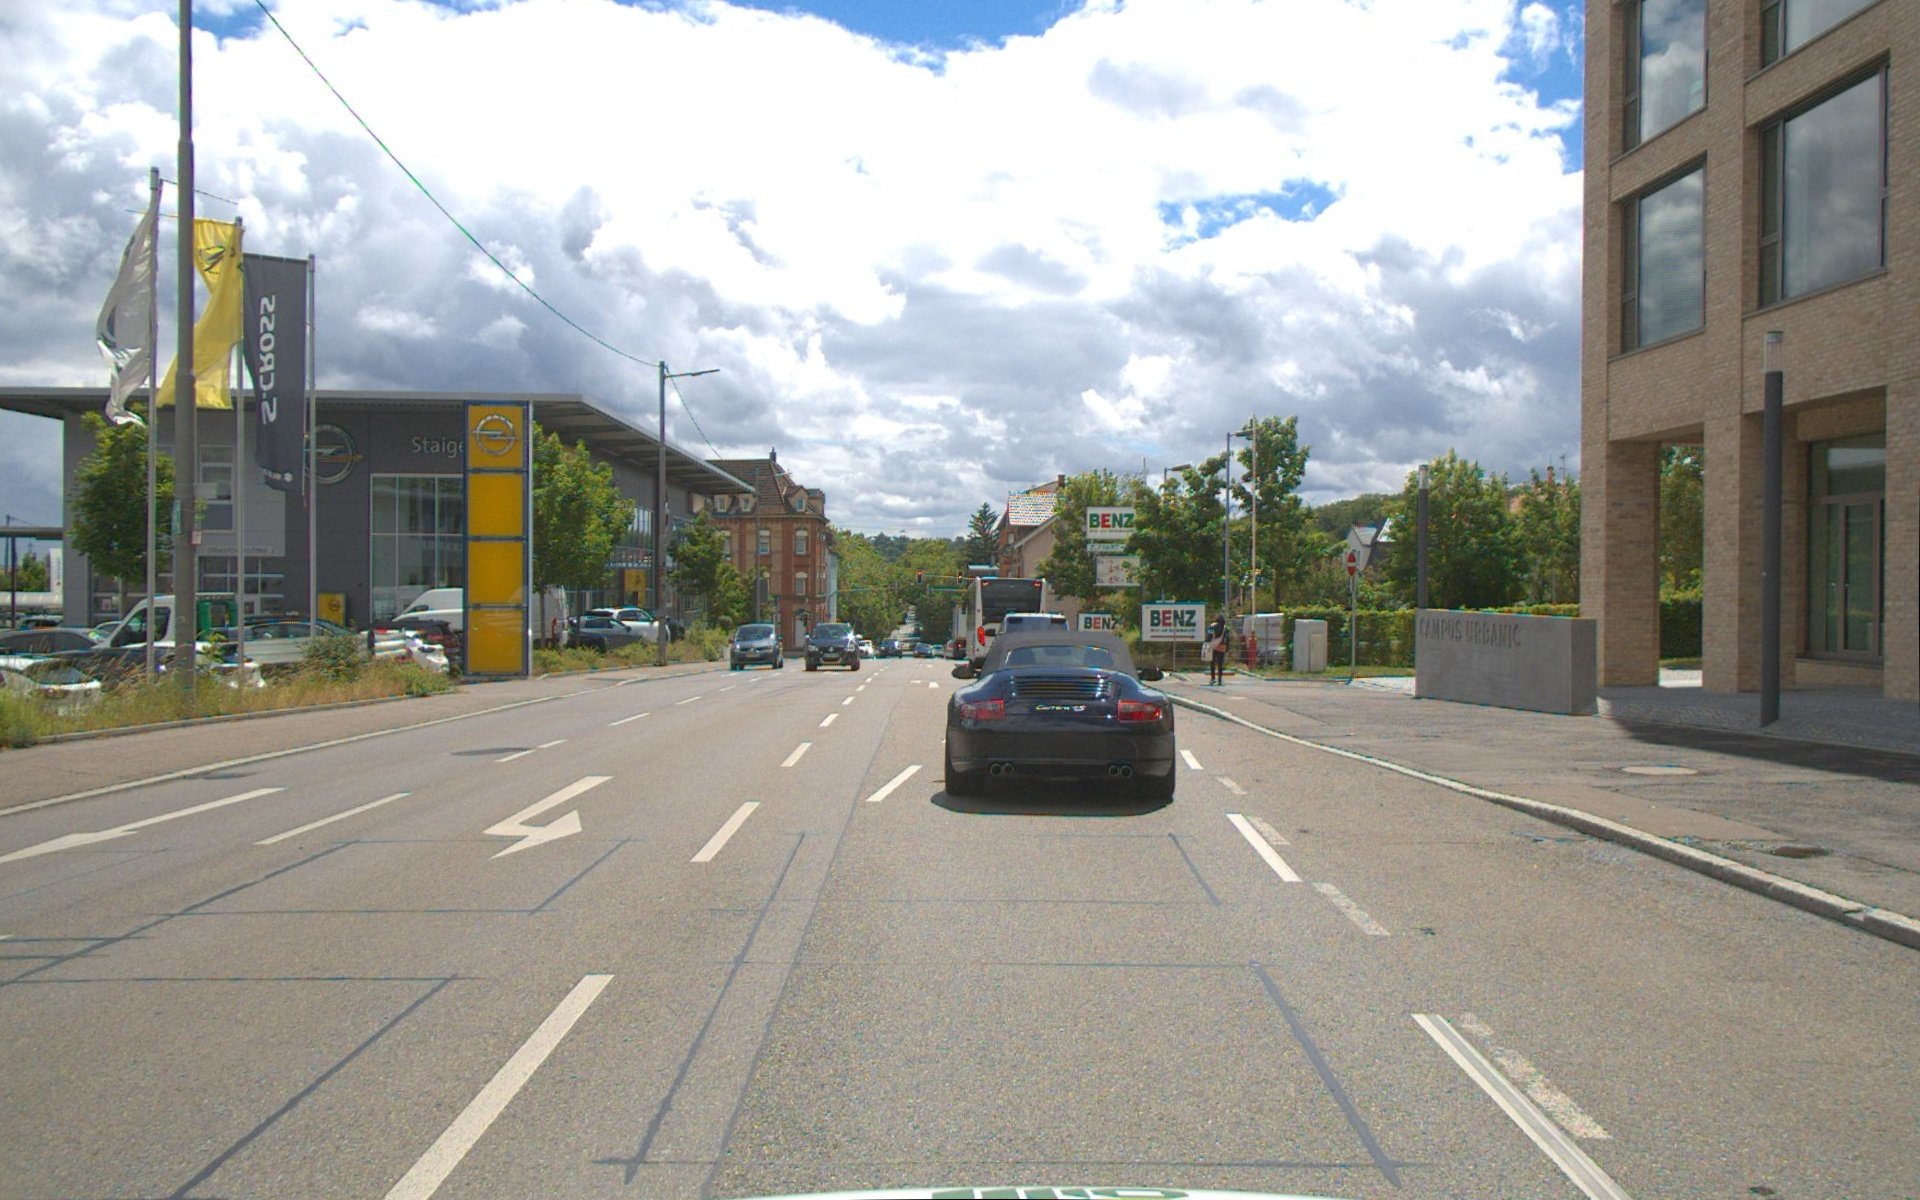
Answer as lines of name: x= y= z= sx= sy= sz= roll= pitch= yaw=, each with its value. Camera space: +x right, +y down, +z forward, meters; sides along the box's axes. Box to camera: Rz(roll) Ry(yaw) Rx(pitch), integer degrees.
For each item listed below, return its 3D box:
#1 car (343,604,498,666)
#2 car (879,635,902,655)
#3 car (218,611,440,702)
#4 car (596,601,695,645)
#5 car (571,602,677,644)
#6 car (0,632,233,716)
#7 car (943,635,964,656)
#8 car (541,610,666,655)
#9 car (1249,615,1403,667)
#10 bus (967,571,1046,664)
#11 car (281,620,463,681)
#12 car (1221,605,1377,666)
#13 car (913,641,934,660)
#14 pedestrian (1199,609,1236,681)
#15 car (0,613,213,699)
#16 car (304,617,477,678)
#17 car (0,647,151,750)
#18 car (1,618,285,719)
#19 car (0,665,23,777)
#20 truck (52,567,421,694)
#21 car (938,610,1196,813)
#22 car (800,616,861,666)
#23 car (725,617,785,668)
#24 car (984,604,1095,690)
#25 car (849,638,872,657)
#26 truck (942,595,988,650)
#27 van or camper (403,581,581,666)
car: x=-15.975 y=1.031 z=49.123 sx=3.903 sy=1.735 sz=2.001 roll=0 pitch=1 yaw=4
car: x=-5.628 y=3.675 z=134.655 sx=1.826 sy=1.567 sz=4.105 roll=0 pitch=-1 yaw=-2
car: x=-13.181 y=1.164 z=34.703 sx=3.906 sy=1.616 sz=1.754 roll=-3 pitch=1 yaw=0
car: x=-13.372 y=0.936 z=70.564 sx=1.954 sy=1.728 sz=4.482 roll=1 pitch=1 yaw=24
car: x=-13.242 y=0.926 z=65.489 sx=1.891 sy=1.600 sz=4.552 roll=0 pitch=-1 yaw=22
car: x=-13.326 y=1.104 z=25.179 sx=3.641 sy=1.233 sz=1.928 roll=0 pitch=-1 yaw=-1
car: x=-0.648 y=4.446 z=161.118 sx=1.796 sy=1.915 sz=3.998 roll=0 pitch=0 yaw=-2
car: x=-12.949 y=1.161 z=60.389 sx=1.858 sy=1.476 sz=4.827 roll=1 pitch=1 yaw=26
car: x=11.467 y=1.293 z=52.044 sx=4.343 sy=1.507 sz=1.999 roll=-1 pitch=-1 yaw=-2
bus: x=1.688 y=0.515 z=63.896 sx=2.744 sy=3.253 sz=12.197 roll=0 pitch=1 yaw=1
car: x=-14.863 y=1.260 z=41.985 sx=3.907 sy=1.433 sz=1.999 roll=0 pitch=1 yaw=-3
car: x=11.204 y=1.177 z=54.868 sx=4.620 sy=1.881 sz=2.084 roll=-1 pitch=-1 yaw=-9
car: x=-3.266 y=4.494 z=147.247 sx=1.826 sy=1.695 sz=4.257 roll=0 pitch=-1 yaw=-2
pedestrian: x=5.707 y=0.984 z=36.672 sx=0.673 sy=1.563 sz=0.856 roll=0 pitch=0 yaw=-1
car: x=-17.934 y=1.145 z=34.302 sx=3.997 sy=1.548 sz=1.826 roll=-3 pitch=1 yaw=-2
car: x=-15.228 y=1.252 z=44.363 sx=3.904 sy=1.517 sz=2.001 roll=0 pitch=1 yaw=2
car: x=-13.380 y=1.330 z=22.909 sx=3.472 sy=1.348 sz=1.711 roll=0 pitch=-1 yaw=2
car: x=-13.758 y=1.143 z=28.024 sx=3.806 sy=1.638 sz=1.928 roll=0 pitch=-1 yaw=-1
car: x=-14.200 y=1.528 z=20.604 sx=3.949 sy=1.411 sz=1.929 roll=0 pitch=-1 yaw=2
truck: x=-13.246 y=0.563 z=30.656 sx=5.745 sy=2.185 sz=2.474 roll=-1 pitch=-2 yaw=-4
car: x=0.796 y=0.833 z=14.288 sx=1.891 sy=1.400 sz=4.208 roll=0 pitch=1 yaw=0
car: x=-4.103 y=1.293 z=52.810 sx=1.793 sy=1.535 sz=4.274 roll=-1 pitch=-1 yaw=-3
car: x=-7.226 y=1.475 z=58.596 sx=1.709 sy=1.623 sz=4.040 roll=-2 pitch=0 yaw=-2
car: x=1.589 y=0.918 z=34.376 sx=1.892 sy=1.610 sz=4.206 roll=0 pitch=1 yaw=-3
car: x=-8.592 y=4.121 z=143.095 sx=1.826 sy=1.567 sz=4.105 roll=0 pitch=-1 yaw=-2
truck: x=0.238 y=1.429 z=101.396 sx=2.612 sy=3.162 sz=9.032 roll=-1 pitch=-1 yaw=-1
van or camper: x=-14.562 y=0.705 z=51.728 sx=4.925 sy=2.575 sz=2.317 roll=0 pitch=1 yaw=-2
